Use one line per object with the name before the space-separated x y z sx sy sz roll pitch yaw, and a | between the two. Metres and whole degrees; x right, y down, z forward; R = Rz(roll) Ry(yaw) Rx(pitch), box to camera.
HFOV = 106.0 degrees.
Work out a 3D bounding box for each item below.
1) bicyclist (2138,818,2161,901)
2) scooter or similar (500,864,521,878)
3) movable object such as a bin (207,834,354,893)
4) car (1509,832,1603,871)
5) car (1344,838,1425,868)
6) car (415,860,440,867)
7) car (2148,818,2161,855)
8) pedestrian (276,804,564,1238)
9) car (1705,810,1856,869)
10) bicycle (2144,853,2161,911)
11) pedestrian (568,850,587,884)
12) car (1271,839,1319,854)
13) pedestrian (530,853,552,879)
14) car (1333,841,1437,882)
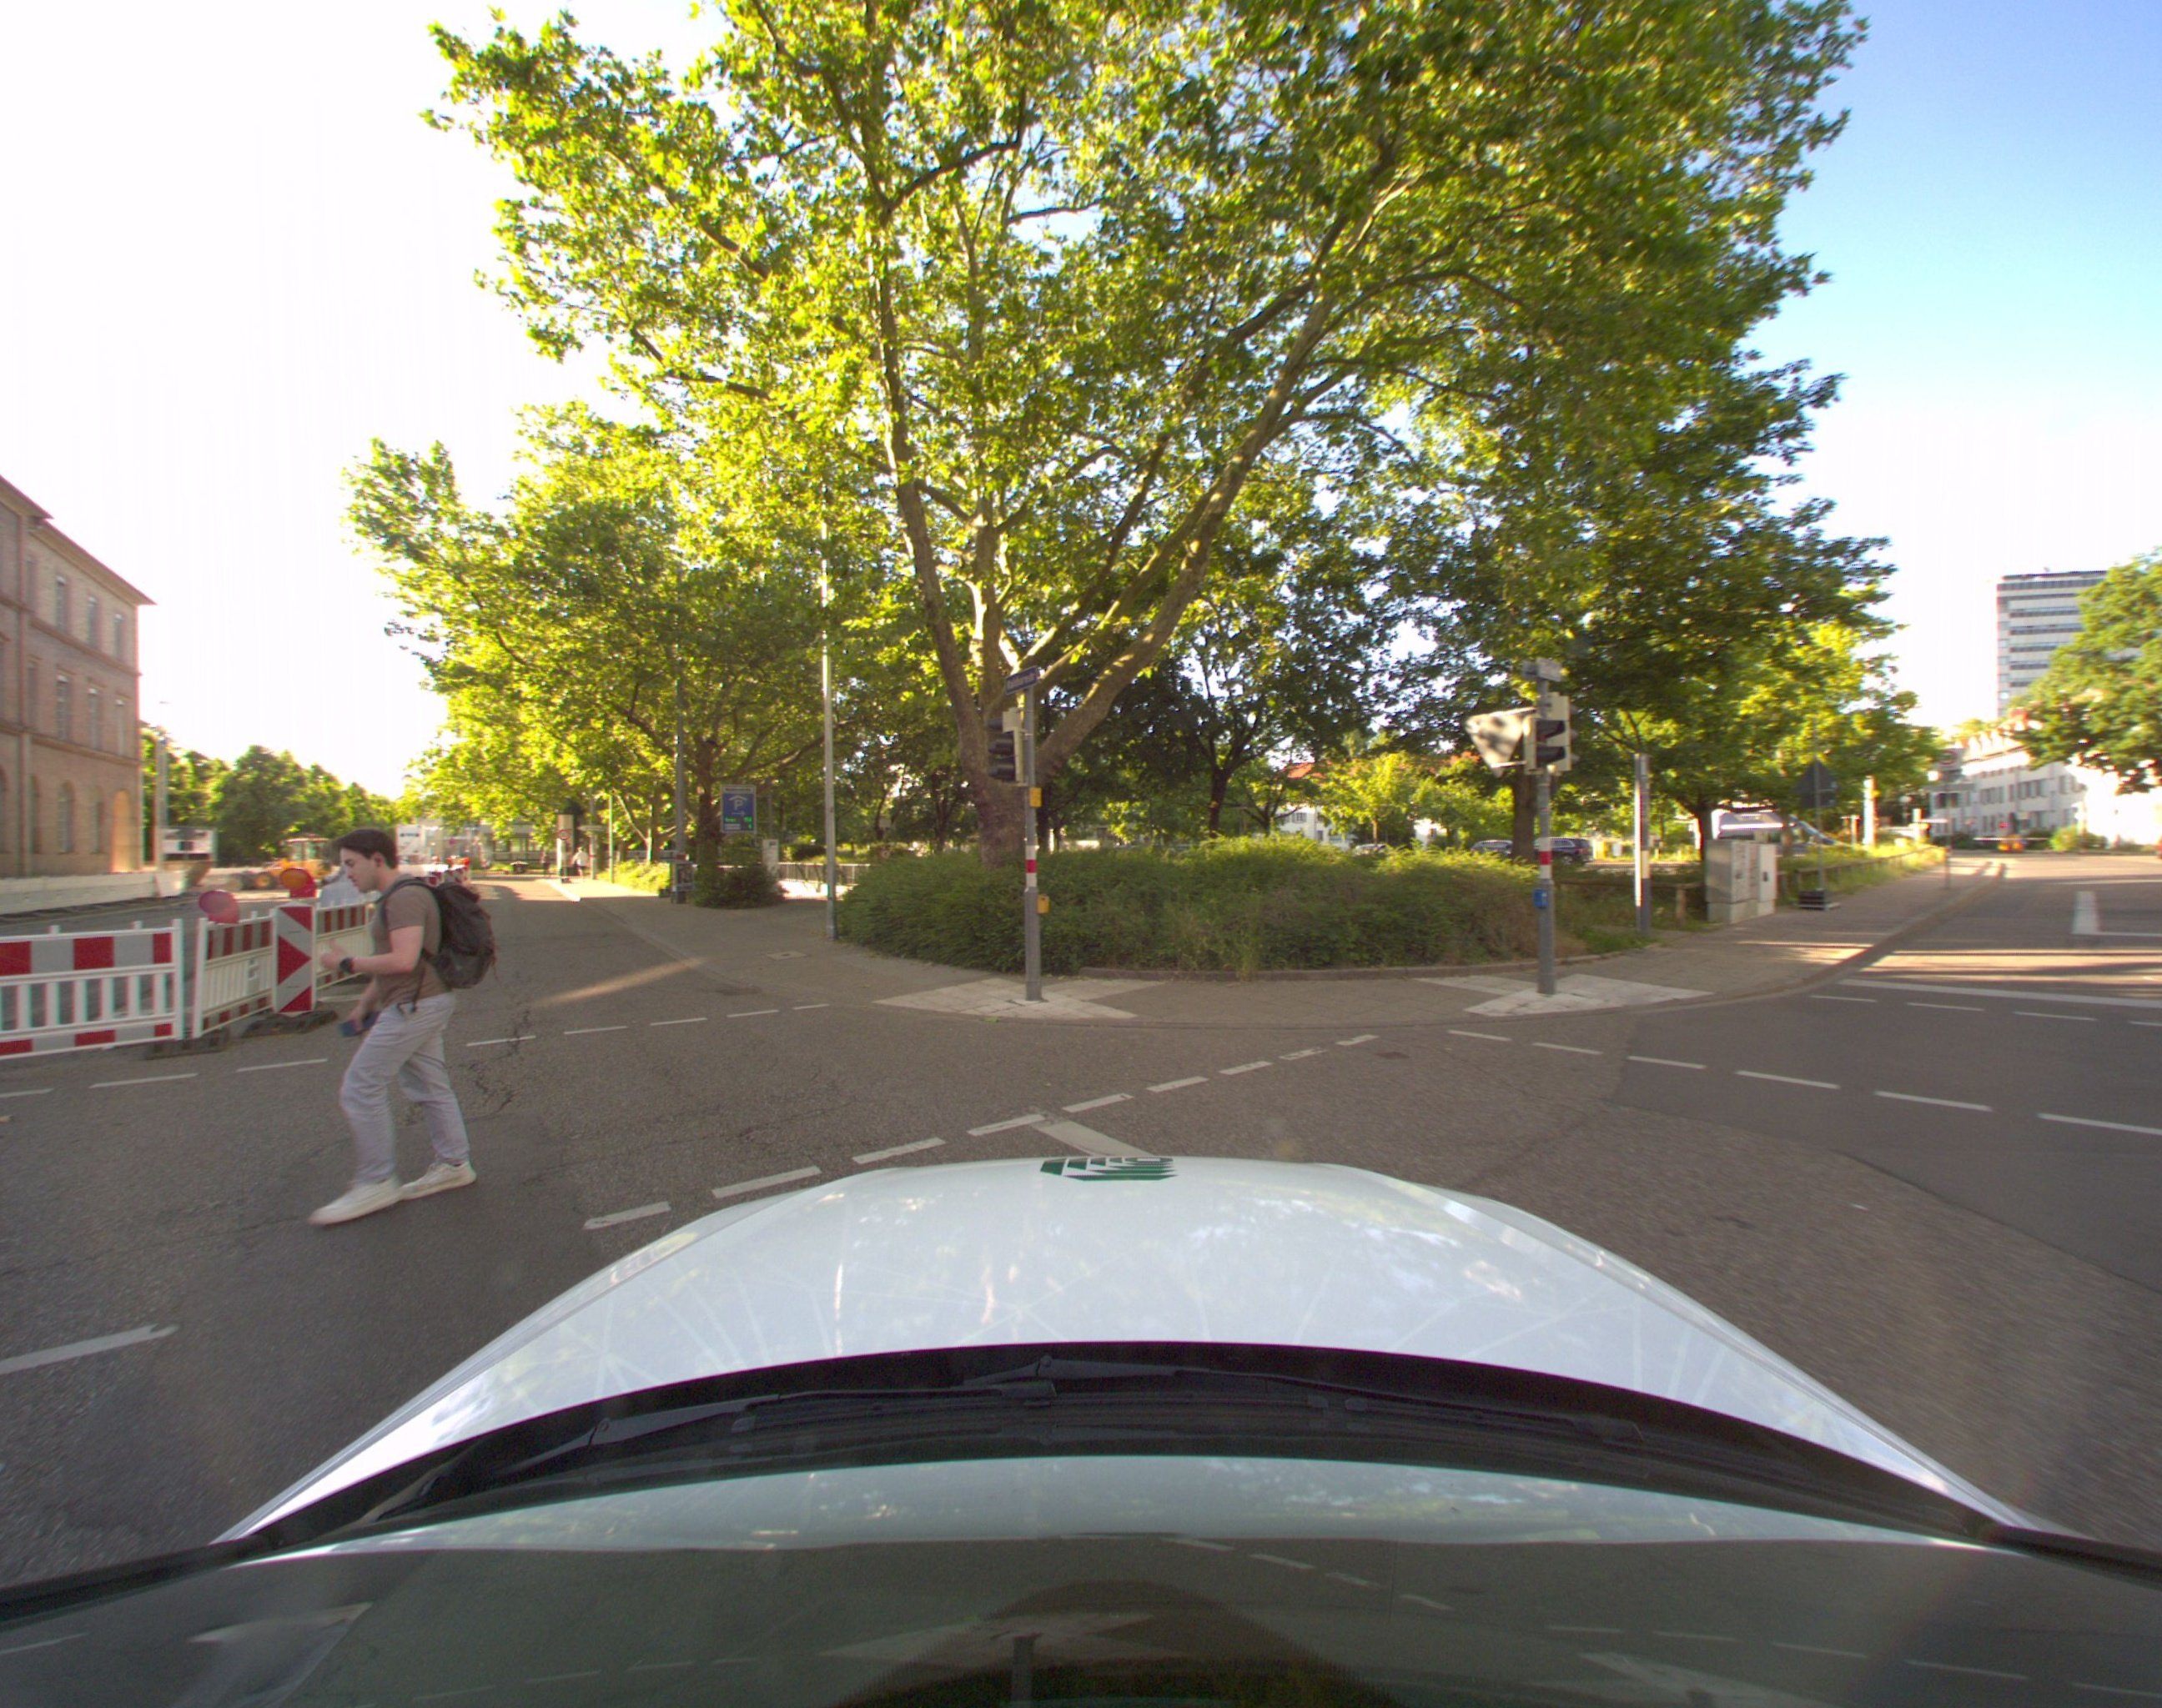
bicyclist | 20.410 0.093 15.106 1.094 1.535 0.867 -1 1 -43
scooter or similar | -40.608 1.197 58.004 1.157 0.914 0.414 -3 1 -44
movable object such as a bin | -44.181 0.482 45.030 5.879 3.031 2.573 -1 1 7
car | 26.929 -0.156 46.326 1.796 2.088 4.263 -1 1 -37
car | 17.425 -0.054 46.851 1.932 1.626 3.956 1 0 -36
car | -159.949 2.295 199.364 4.593 1.790 1.977 0 0 -38
car | 55.434 -0.878 40.553 2.064 1.786 4.942 -1 2 44
pedestrian | -3.034 0.672 3.852 0.886 1.772 0.741 -1 0 -26
car | 32.806 -0.662 38.333 2.010 2.572 5.101 -1 1 -38
bicycle | 20.434 0.502 15.065 2.035 1.017 0.710 -1 0 -43
pedestrian | -27.786 0.682 44.957 0.751 1.812 1.121 -1 2 -39
car | 22.154 -0.759 84.564 2.023 1.475 4.606 1 0 -36
pedestrian | -33.773 0.750 50.946 0.928 1.623 0.714 -1 0 22
car | 14.291 0.328 38.482 1.796 1.811 4.263 -1 1 -37
